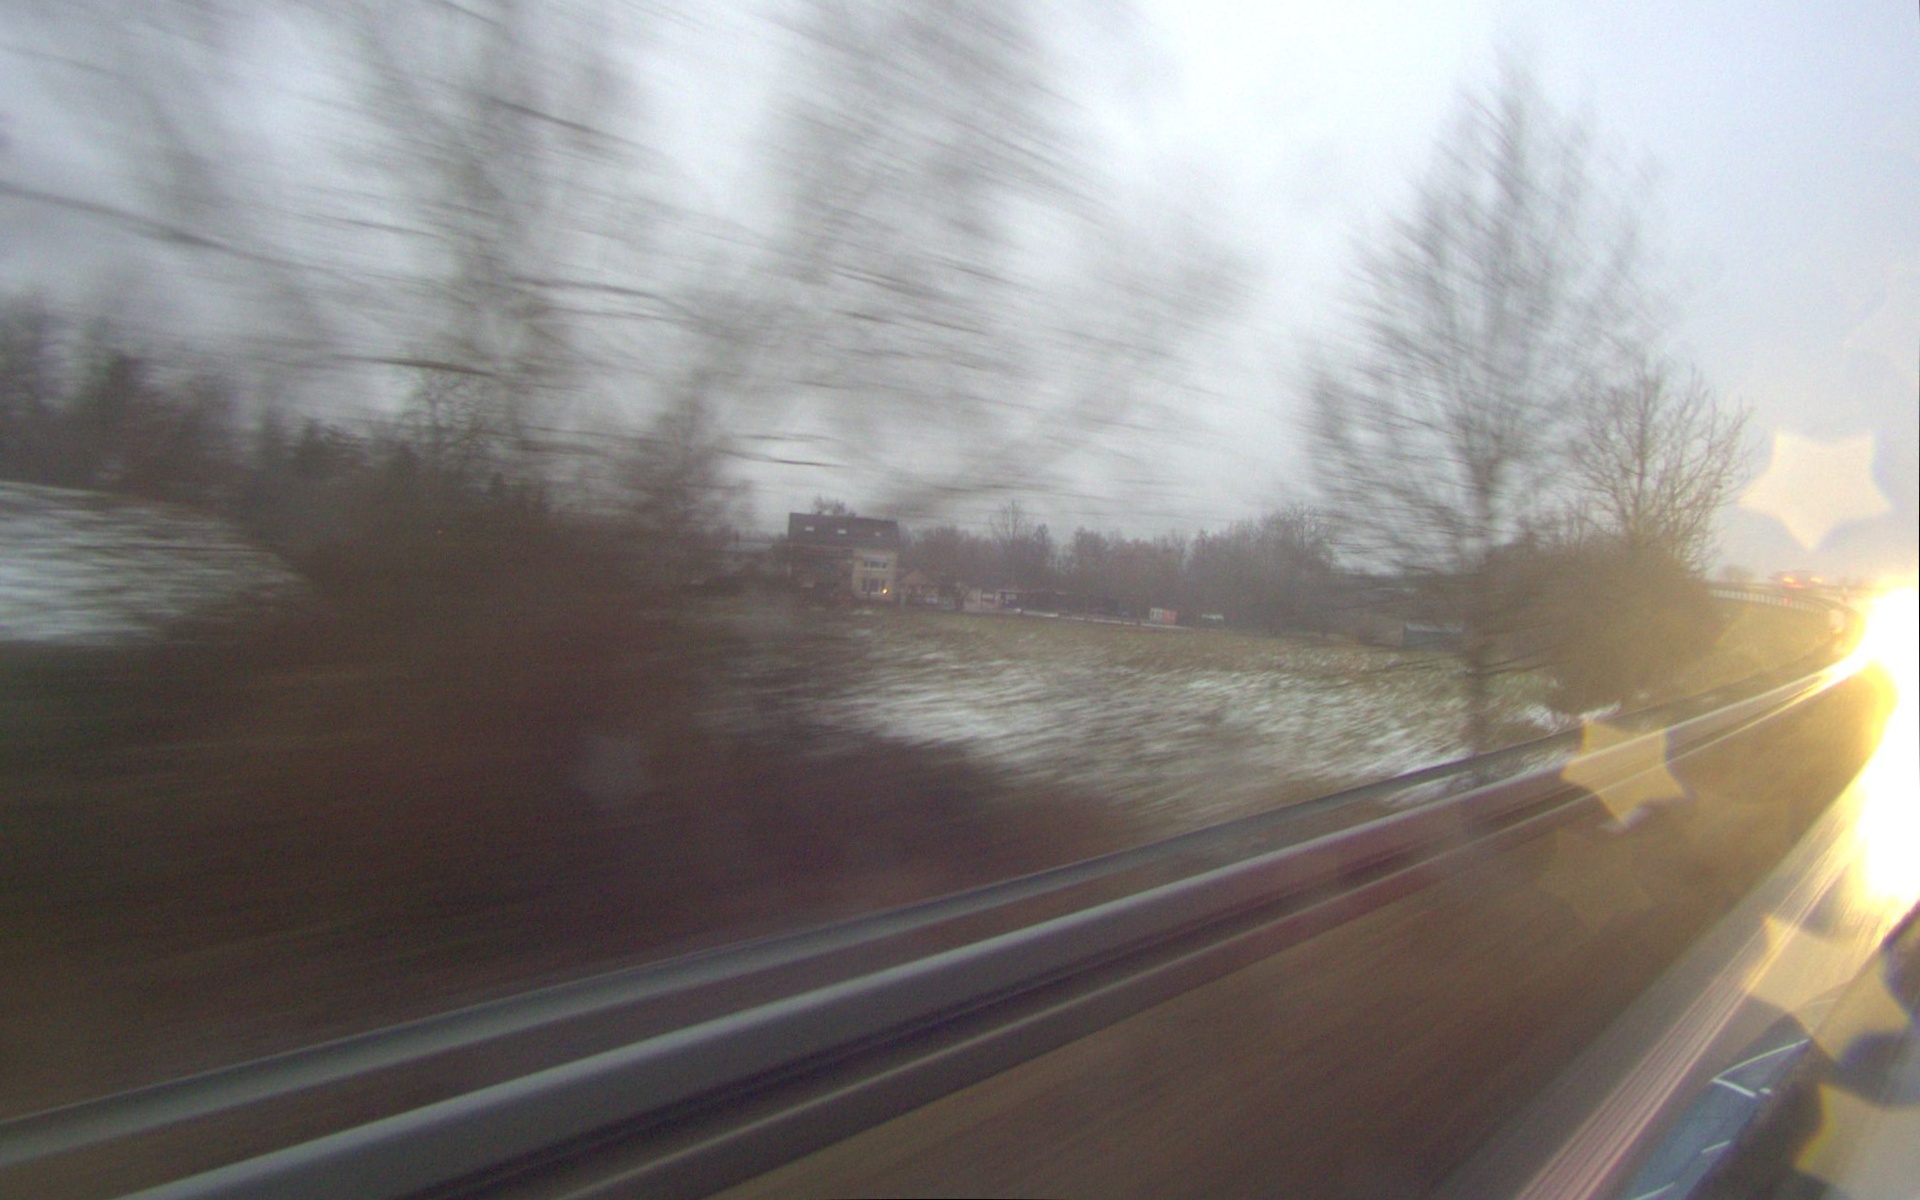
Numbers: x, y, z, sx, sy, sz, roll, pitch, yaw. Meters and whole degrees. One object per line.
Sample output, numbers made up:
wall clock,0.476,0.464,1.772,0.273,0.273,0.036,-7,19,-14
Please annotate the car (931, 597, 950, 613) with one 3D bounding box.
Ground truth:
car,-2.463,0.610,127.832,1.959,1.749,4.007,0,2,-8

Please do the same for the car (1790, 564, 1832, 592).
car,58.937,-1.530,70.167,1.878,1.886,4.941,2,2,36

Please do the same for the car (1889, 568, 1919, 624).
car,30.833,-0.040,31.822,2.095,1.595,4.728,4,1,40

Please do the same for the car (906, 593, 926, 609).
car,-5.393,0.143,123.632,1.959,1.749,4.007,0,2,-8
